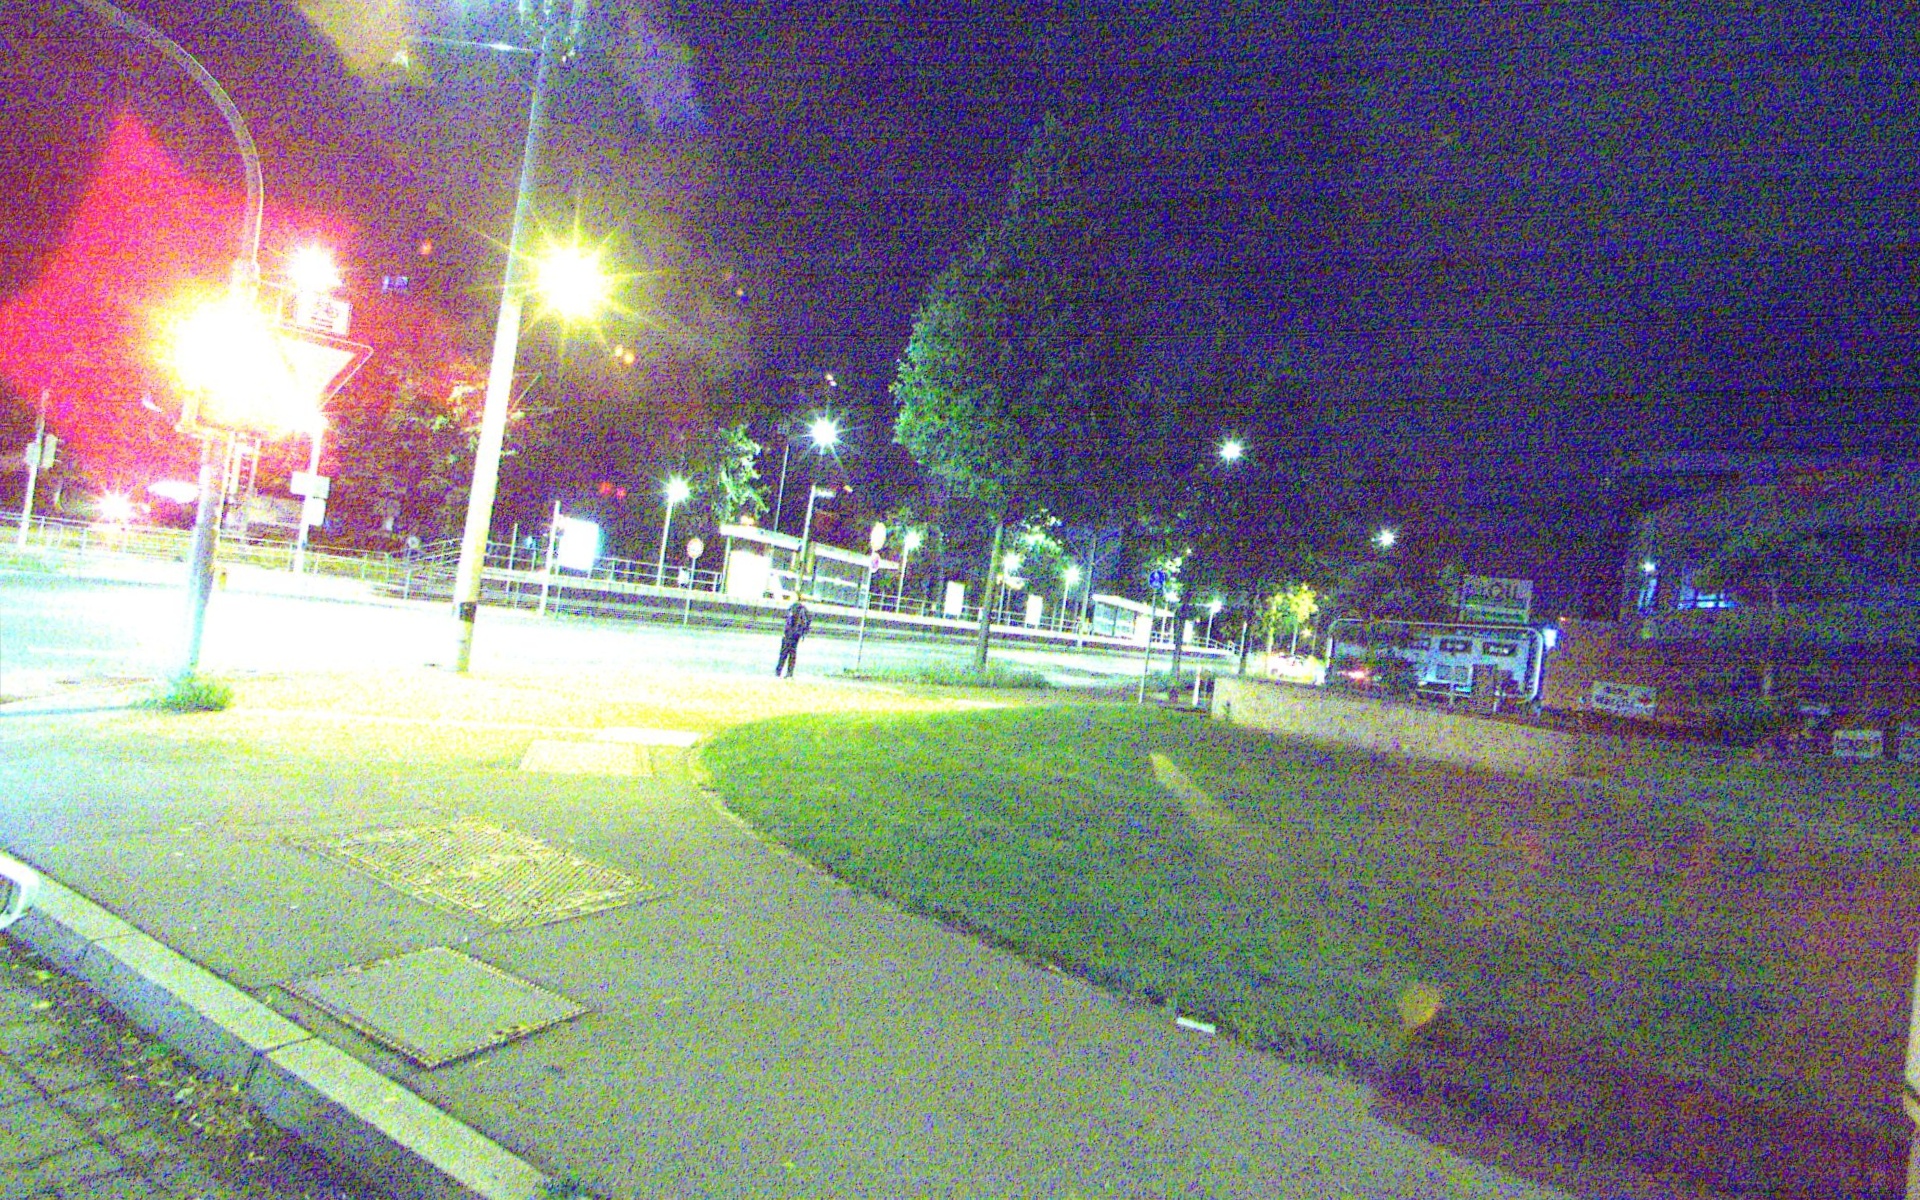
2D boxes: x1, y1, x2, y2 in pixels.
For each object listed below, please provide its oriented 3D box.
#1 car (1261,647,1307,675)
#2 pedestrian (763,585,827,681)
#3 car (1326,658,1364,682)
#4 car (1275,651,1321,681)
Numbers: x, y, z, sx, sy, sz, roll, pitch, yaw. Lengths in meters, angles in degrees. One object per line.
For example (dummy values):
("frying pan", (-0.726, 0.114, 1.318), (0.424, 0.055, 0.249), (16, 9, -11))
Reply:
("car", (23.784, 4.489, 73.766), (1.784, 1.584, 4.514), (10, 0, 35))
("pedestrian", (-3.196, 0.642, 19.479), (0.820, 1.767, 0.755), (4, 0, 31))
("car", (29.773, 5.456, 77.717), (1.833, 1.510, 4.477), (8, 0, 31))
("car", (21.748, 4.258, 64.683), (1.660, 1.525, 3.833), (9, 0, 34))
